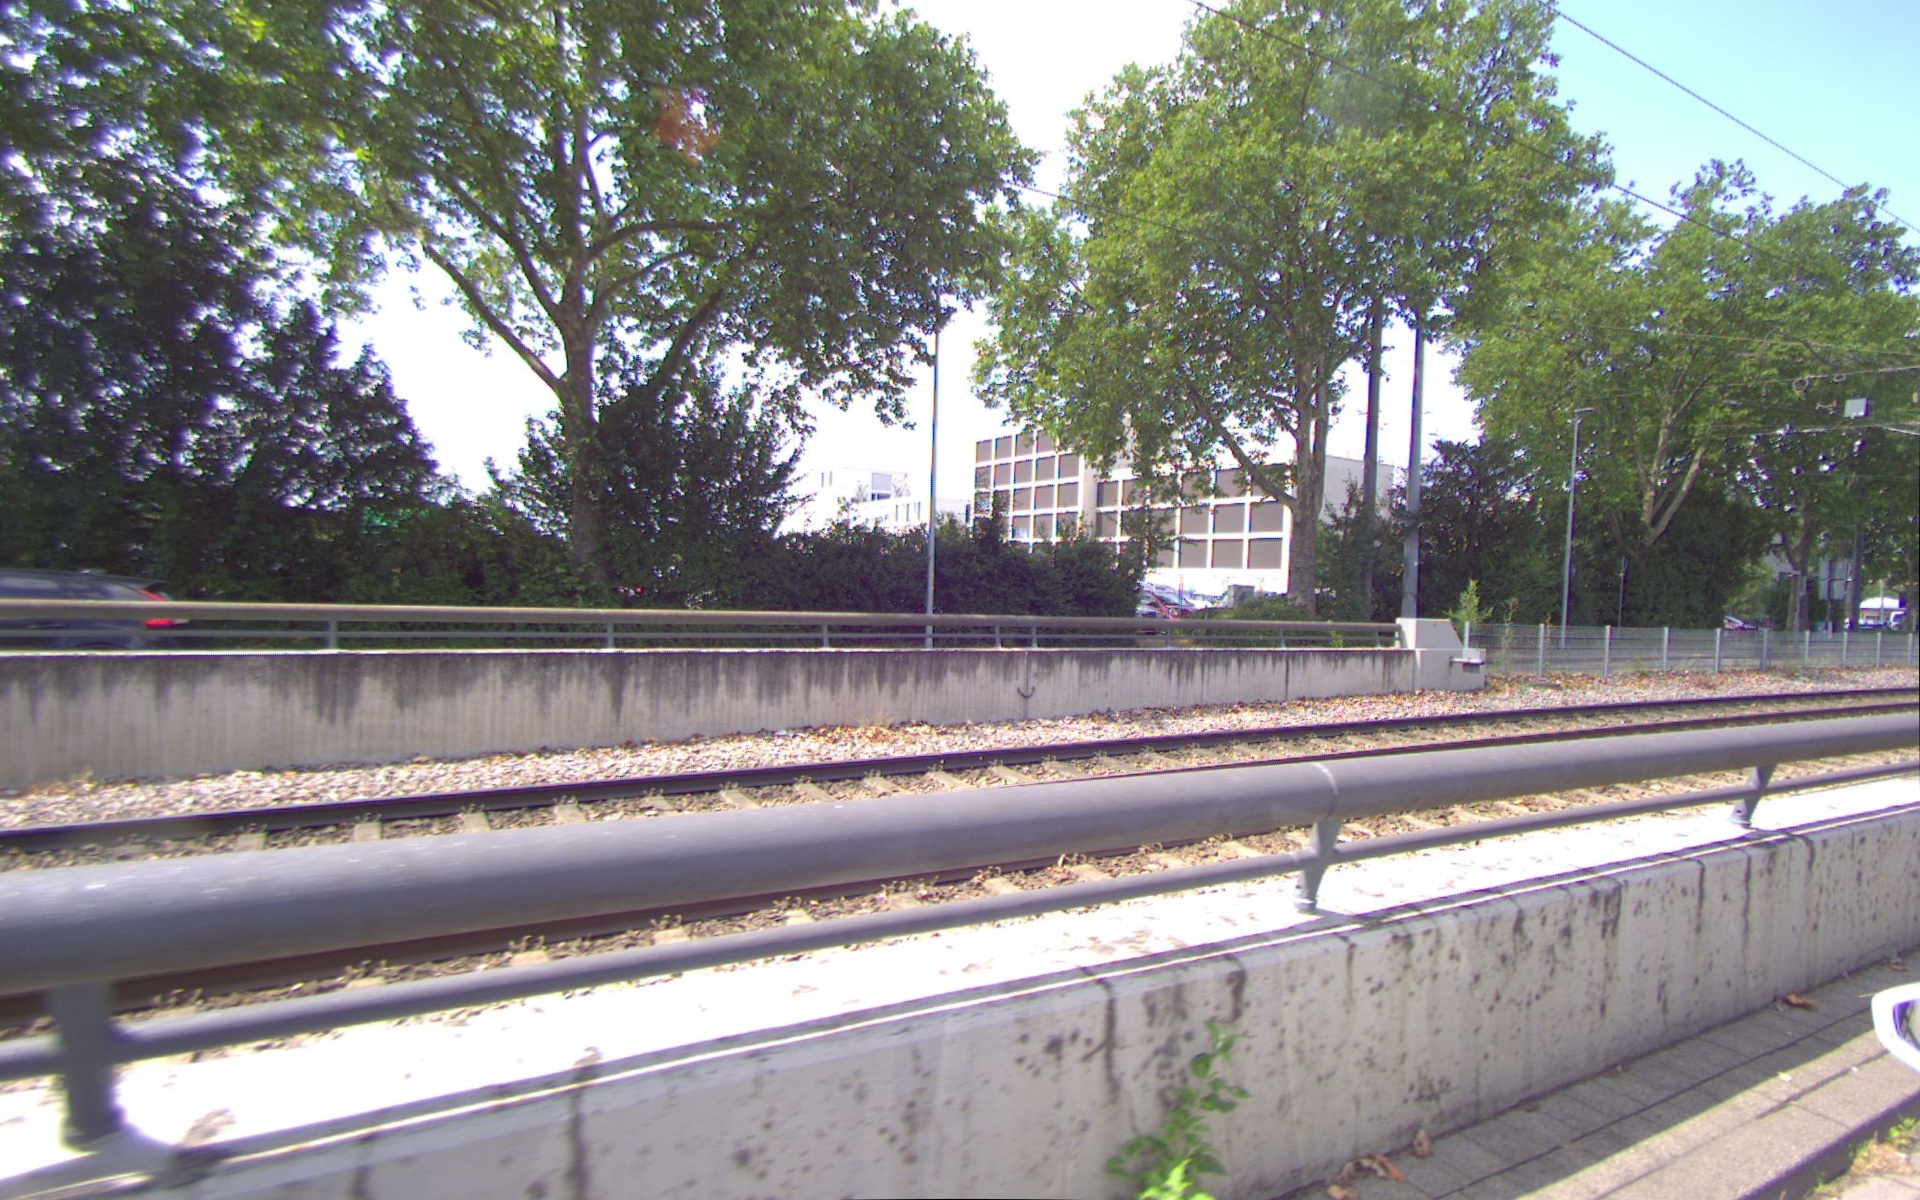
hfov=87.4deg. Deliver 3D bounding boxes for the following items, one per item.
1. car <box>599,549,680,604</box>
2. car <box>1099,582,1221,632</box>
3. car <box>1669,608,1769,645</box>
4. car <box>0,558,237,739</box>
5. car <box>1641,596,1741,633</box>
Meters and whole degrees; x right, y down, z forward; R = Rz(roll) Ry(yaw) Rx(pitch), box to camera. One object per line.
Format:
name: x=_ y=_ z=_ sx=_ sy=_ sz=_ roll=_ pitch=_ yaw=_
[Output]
car: x=-11.609 y=-0.891 z=36.239 sx=1.976 sy=1.795 sz=3.968 roll=2 pitch=1 yaw=-30
car: x=6.813 y=0.200 z=34.597 sx=1.976 sy=1.461 sz=3.968 roll=2 pitch=1 yaw=-30
car: x=41.579 y=1.433 z=55.118 sx=1.784 sy=1.773 sz=3.963 roll=2 pitch=1 yaw=-33
car: x=-9.475 y=0.396 z=9.372 sx=4.249 sy=1.618 sz=1.658 roll=2 pitch=1 yaw=-31
car: x=39.560 y=0.752 z=54.438 sx=1.784 sy=1.773 sz=3.963 roll=2 pitch=1 yaw=-33
